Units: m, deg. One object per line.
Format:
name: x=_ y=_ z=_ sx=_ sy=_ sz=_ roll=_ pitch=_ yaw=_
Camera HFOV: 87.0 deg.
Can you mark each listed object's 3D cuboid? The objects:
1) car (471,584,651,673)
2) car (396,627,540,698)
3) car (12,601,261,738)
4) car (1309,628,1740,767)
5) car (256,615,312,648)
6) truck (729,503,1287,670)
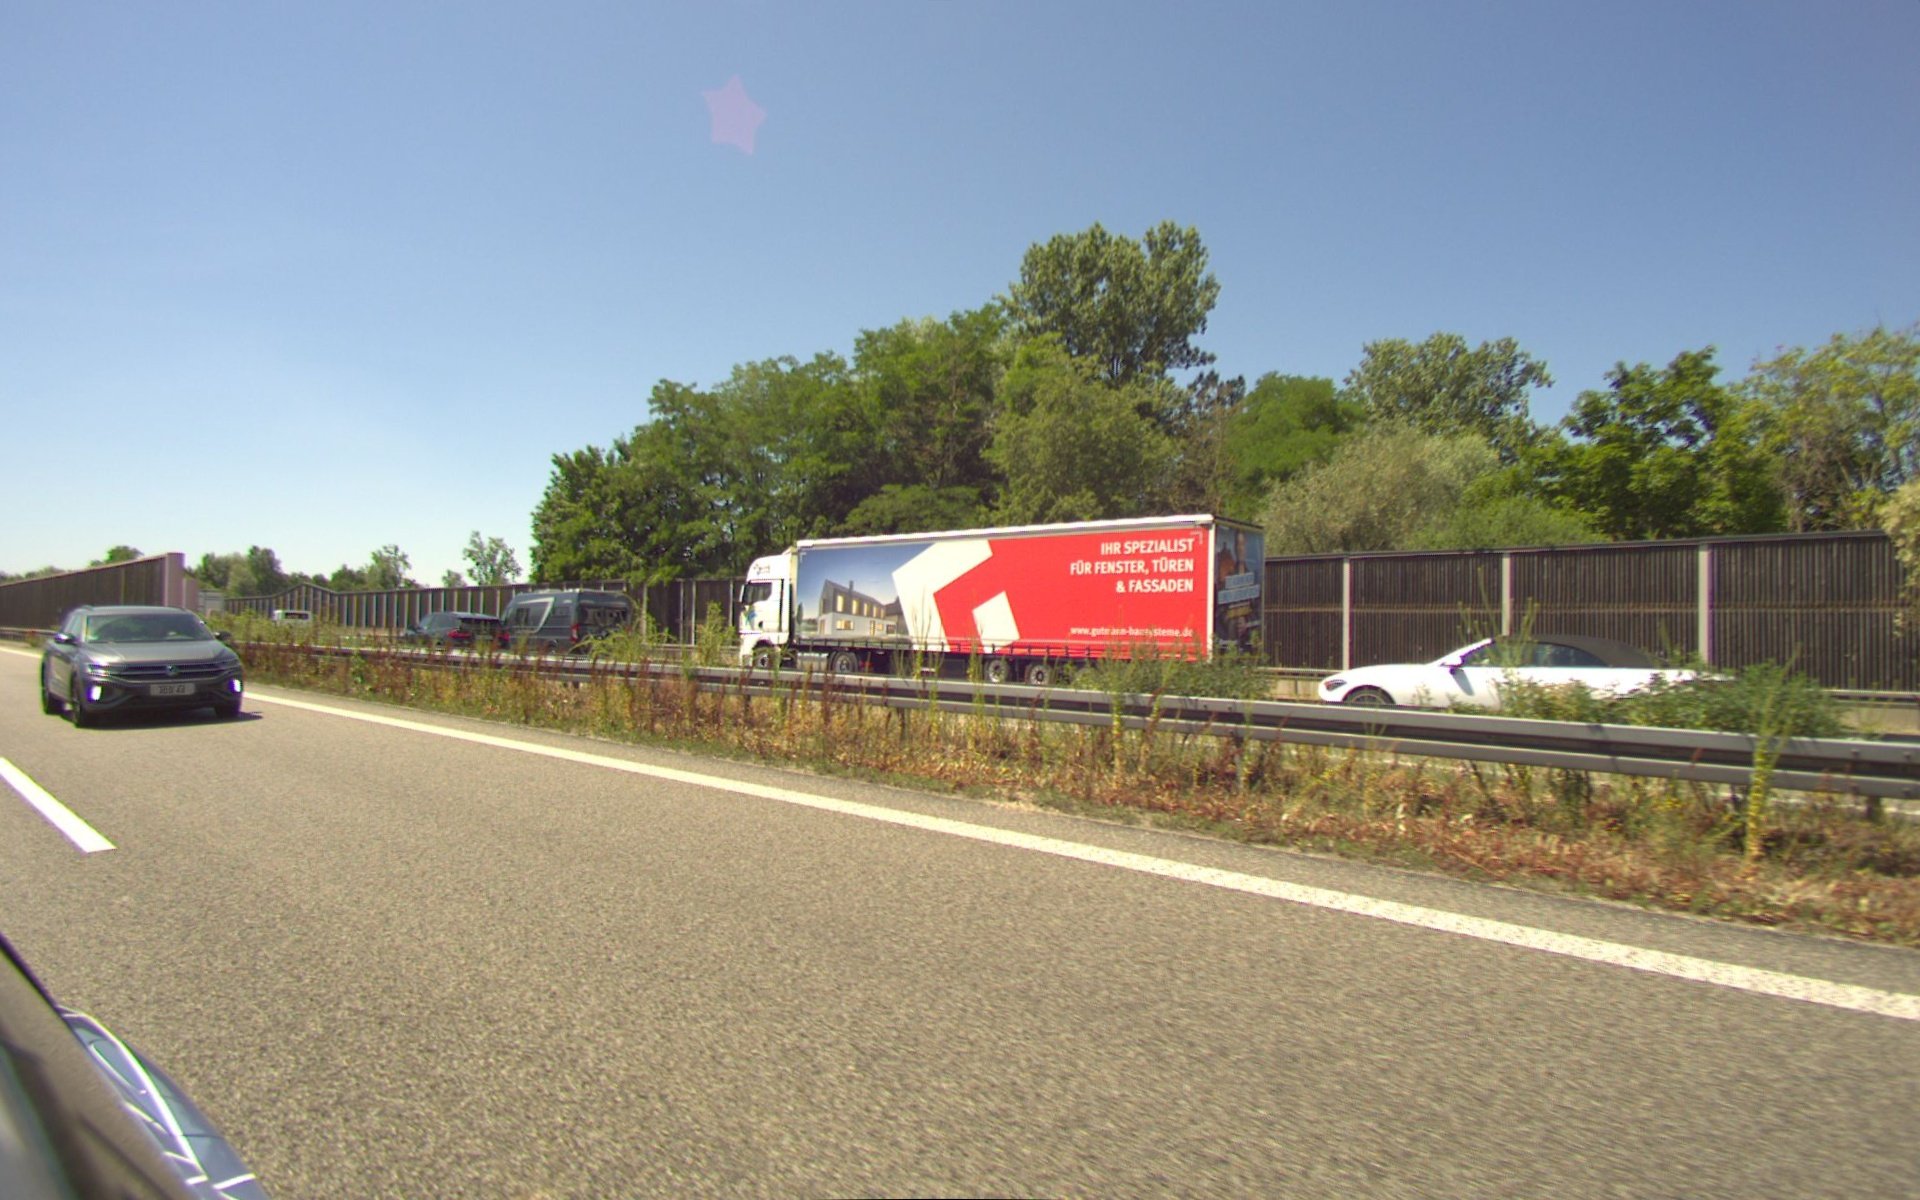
car: x=-13.396 y=0.885 z=33.582 sx=7.581 sy=2.582 sz=2.292 roll=-1 pitch=2 yaw=42
car: x=-13.656 y=1.656 z=27.969 sx=5.078 sy=1.763 sz=1.759 roll=-1 pitch=-2 yaw=41
car: x=-11.944 y=0.917 z=14.550 sx=5.004 sy=1.652 sz=1.861 roll=-2 pitch=-2 yaw=40
car: x=6.947 y=1.082 z=12.775 sx=4.497 sy=1.423 sz=1.759 roll=-1 pitch=-2 yaw=41
car: x=-43.805 y=2.026 z=65.559 sx=4.764 sy=2.103 sz=1.870 roll=-1 pitch=-2 yaw=41
truck: x=0.001 y=-0.076 z=27.140 sx=16.998 sy=3.367 sz=2.808 roll=-2 pitch=-2 yaw=42
